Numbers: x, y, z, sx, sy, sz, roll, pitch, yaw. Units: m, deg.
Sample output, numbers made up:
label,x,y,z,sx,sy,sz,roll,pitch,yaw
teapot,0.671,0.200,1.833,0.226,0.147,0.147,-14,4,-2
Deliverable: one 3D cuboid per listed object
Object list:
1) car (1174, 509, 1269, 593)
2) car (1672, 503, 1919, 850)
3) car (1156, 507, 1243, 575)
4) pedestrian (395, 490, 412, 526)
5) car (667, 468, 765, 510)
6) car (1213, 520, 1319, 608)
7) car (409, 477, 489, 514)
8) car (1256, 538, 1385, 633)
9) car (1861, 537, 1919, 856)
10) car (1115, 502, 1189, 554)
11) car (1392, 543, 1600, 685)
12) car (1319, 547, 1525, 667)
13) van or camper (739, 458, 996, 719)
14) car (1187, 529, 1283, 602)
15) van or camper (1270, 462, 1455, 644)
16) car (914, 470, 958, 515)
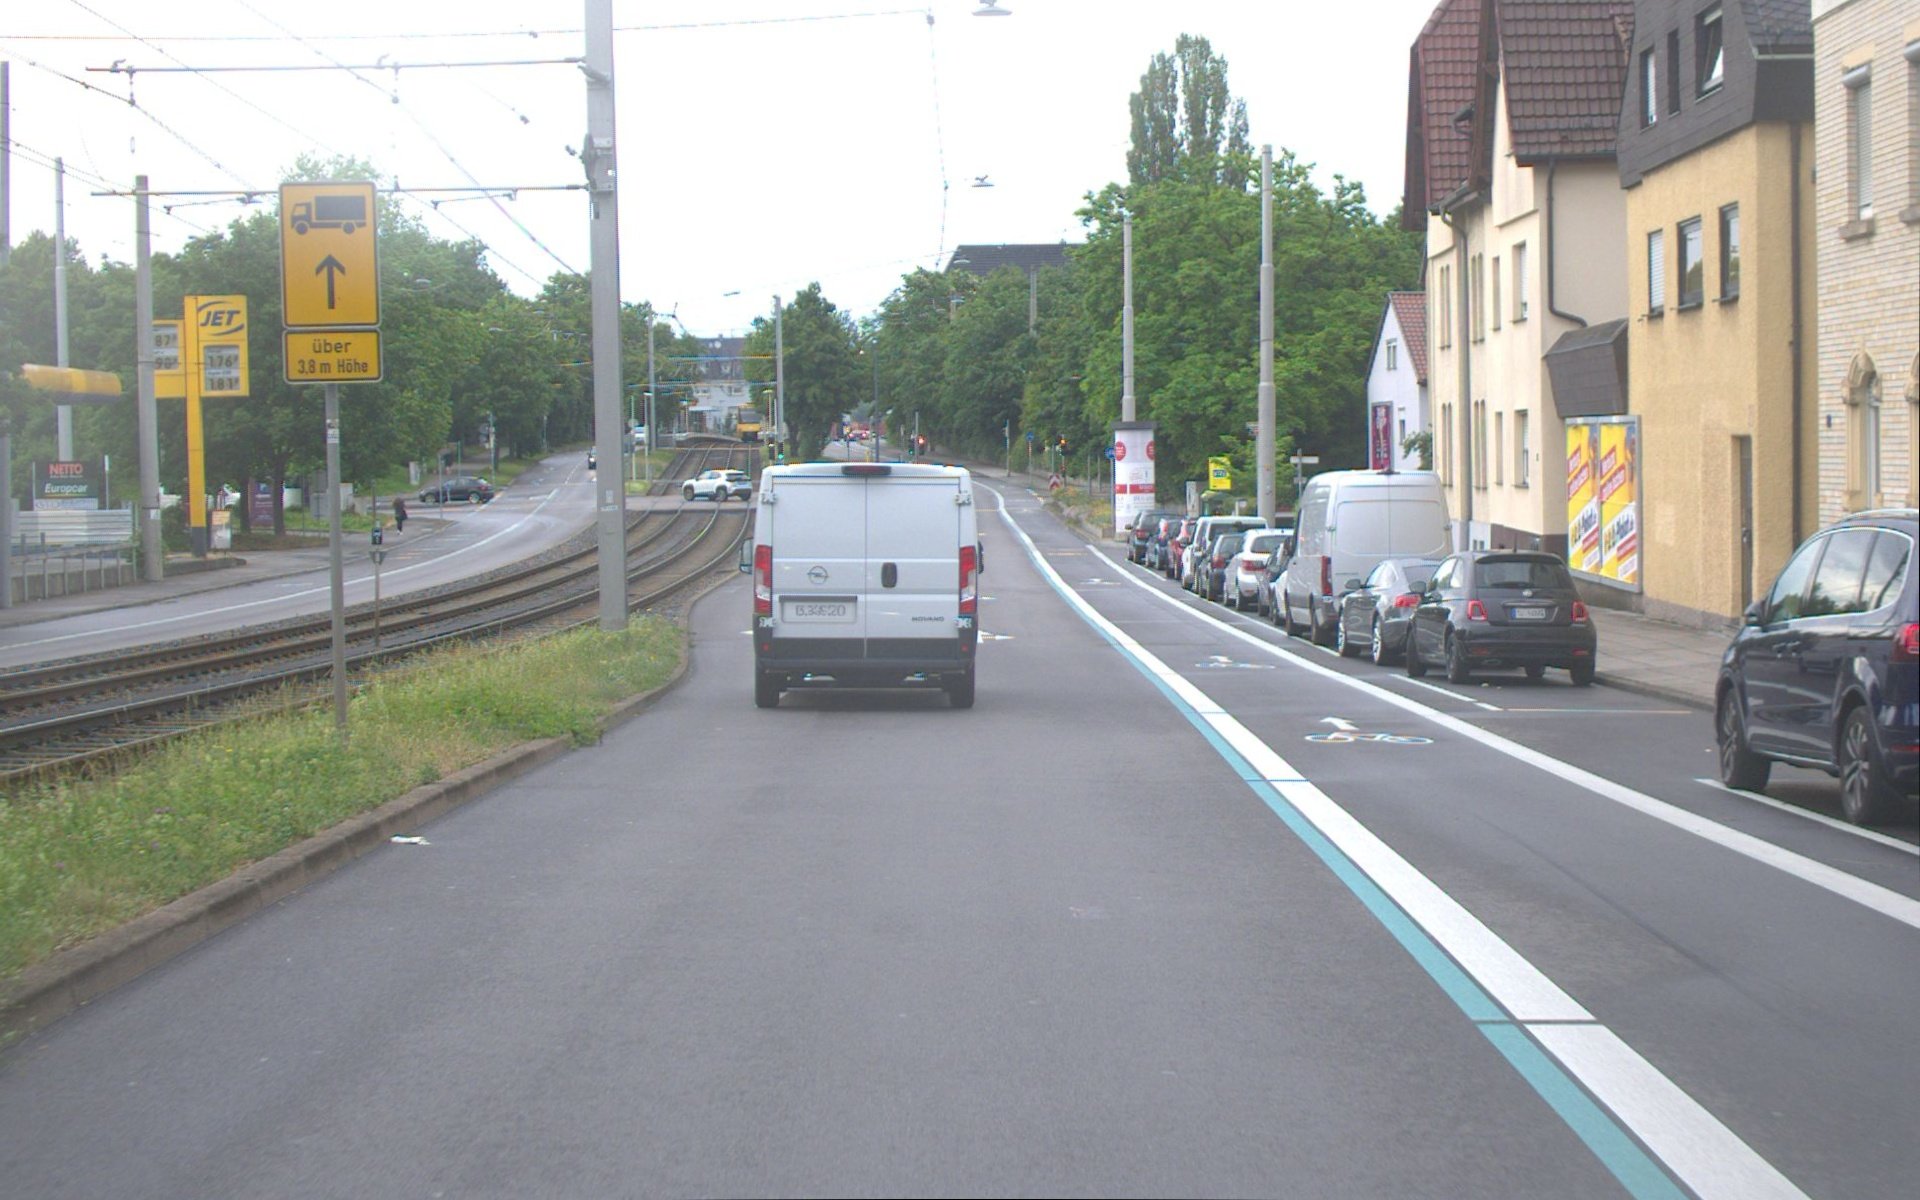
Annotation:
label,x,y,z,sx,sy,sz,roll,pitch,yaw
car,5.996,-1.151,79.184,1.747,1.801,3.955,1,2,-2
car,5.638,0.376,20.210,1.839,1.794,4.687,2,1,-1
car,6.188,-1.555,89.136,1.847,1.640,3.955,1,2,-2
pedestrian,-22.920,-3.783,141.680,0.612,1.470,0.643,-1,1,-14
car,-12.443,-5.642,175.065,4.518,2.007,1.998,2,1,21
car,6.028,-0.737,67.998,1.646,1.609,4.105,1,2,-1
car,-26.492,-5.401,178.340,3.986,1.842,2.000,-1,1,-5
car,6.053,-0.273,58.102,1.708,1.441,4.041,1,2,0
car,5.471,0.508,15.544,1.634,1.533,4.136,2,1,-1
car,5.699,-2.147,102.408,1.847,1.494,3.955,1,1,-2
car,6.076,0.128,39.308,1.565,1.493,3.513,2,1,-4
car,5.998,0.054,45.128,1.788,1.401,4.554,1,2,-4
van or camper,-0.958,-0.140,32.530,2.198,2.245,4.685,1,1,-4
car,5.865,-0.763,73.704,1.646,1.441,3.955,1,2,-1
van or camper,6.042,-0.784,52.316,1.993,2.554,6.044,1,2,0
car,-1.118,-5.031,161.109,1.993,2.007,4.000,1,1,-1
